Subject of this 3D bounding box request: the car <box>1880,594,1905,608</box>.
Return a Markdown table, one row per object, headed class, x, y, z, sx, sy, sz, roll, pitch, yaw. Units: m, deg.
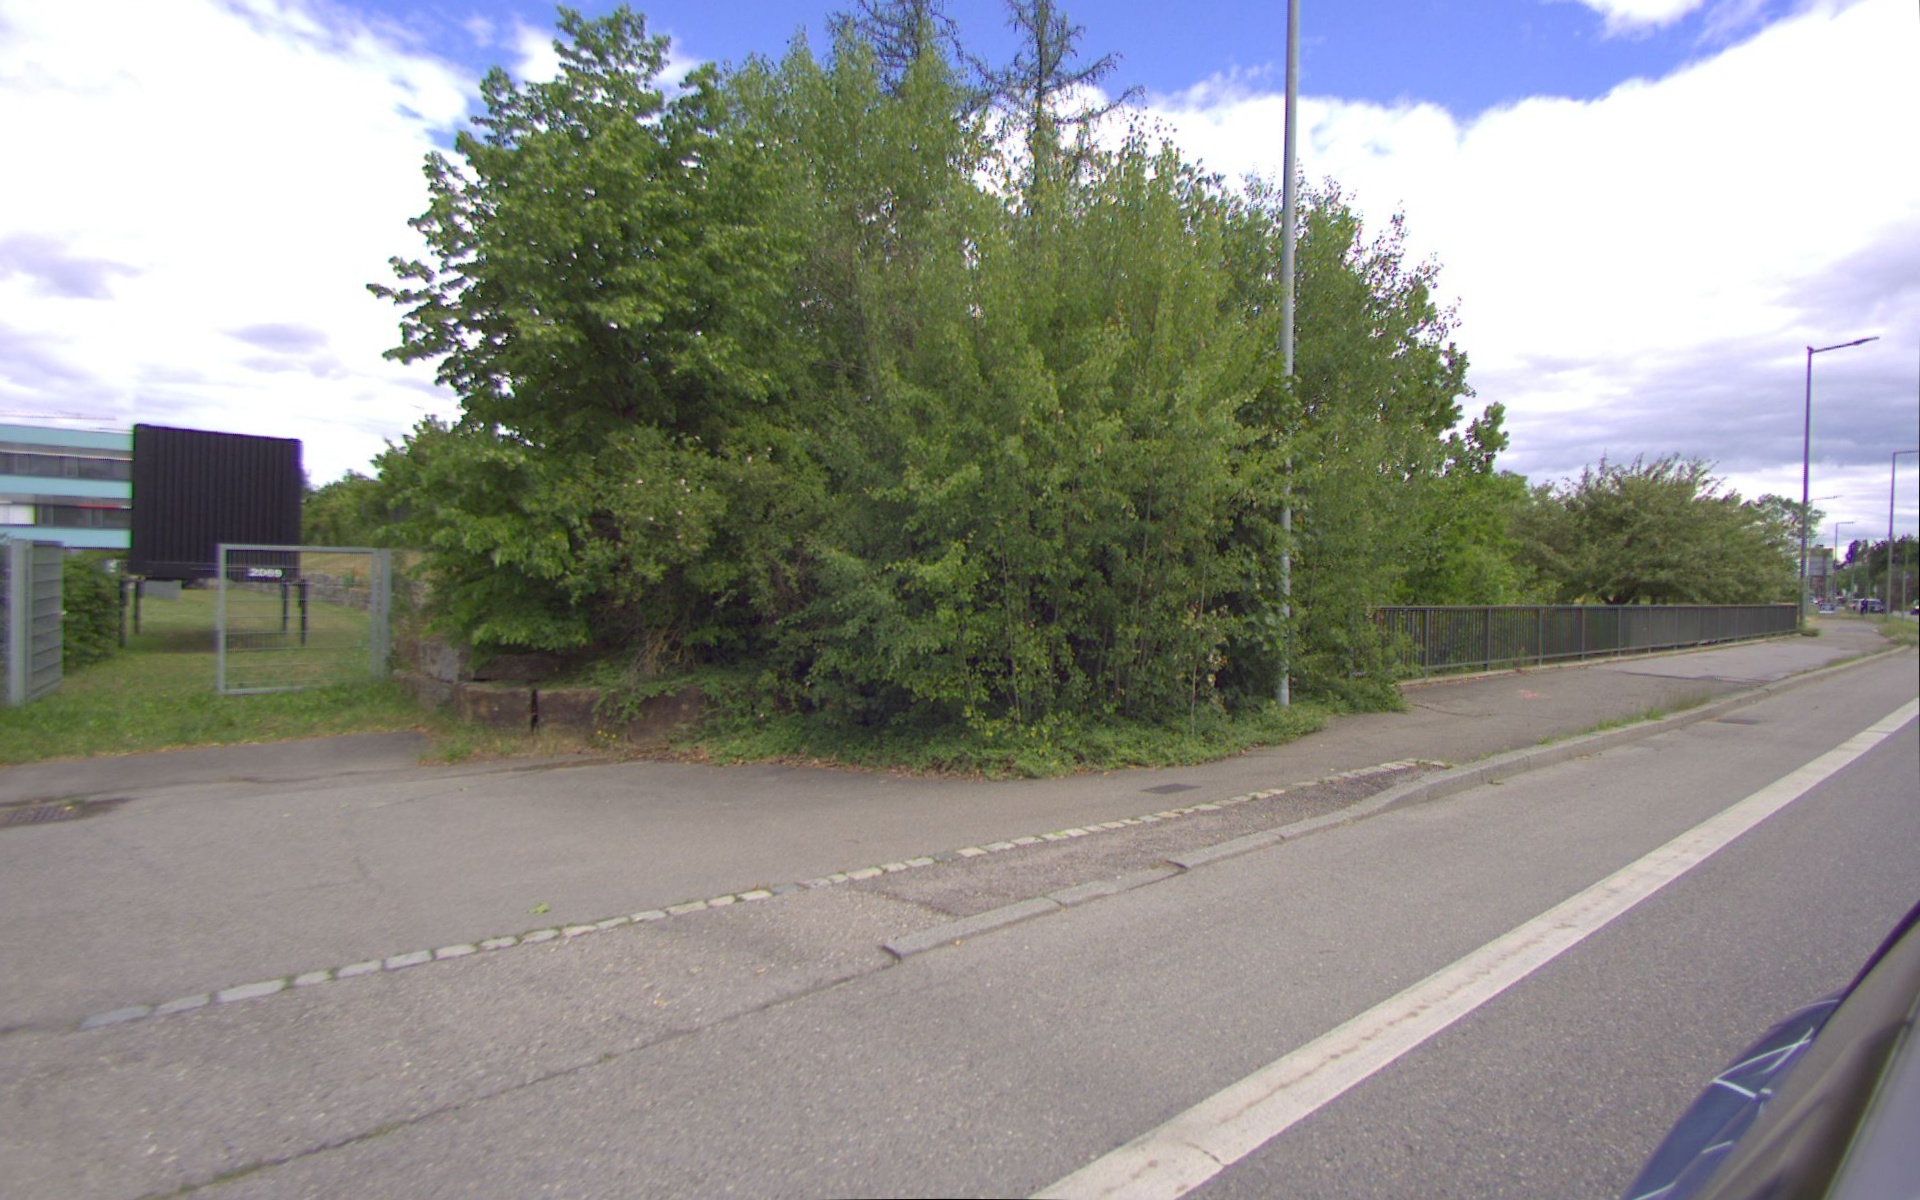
| class | x | y | z | sx | sy | sz | roll | pitch | yaw |
| --- | --- | --- | --- | --- | --- | --- | --- | --- | --- |
| car | 98.988 | 0.062 | 107.468 | 1.728 | 1.459 | 4.306 | 0 | 0 | 40 |
